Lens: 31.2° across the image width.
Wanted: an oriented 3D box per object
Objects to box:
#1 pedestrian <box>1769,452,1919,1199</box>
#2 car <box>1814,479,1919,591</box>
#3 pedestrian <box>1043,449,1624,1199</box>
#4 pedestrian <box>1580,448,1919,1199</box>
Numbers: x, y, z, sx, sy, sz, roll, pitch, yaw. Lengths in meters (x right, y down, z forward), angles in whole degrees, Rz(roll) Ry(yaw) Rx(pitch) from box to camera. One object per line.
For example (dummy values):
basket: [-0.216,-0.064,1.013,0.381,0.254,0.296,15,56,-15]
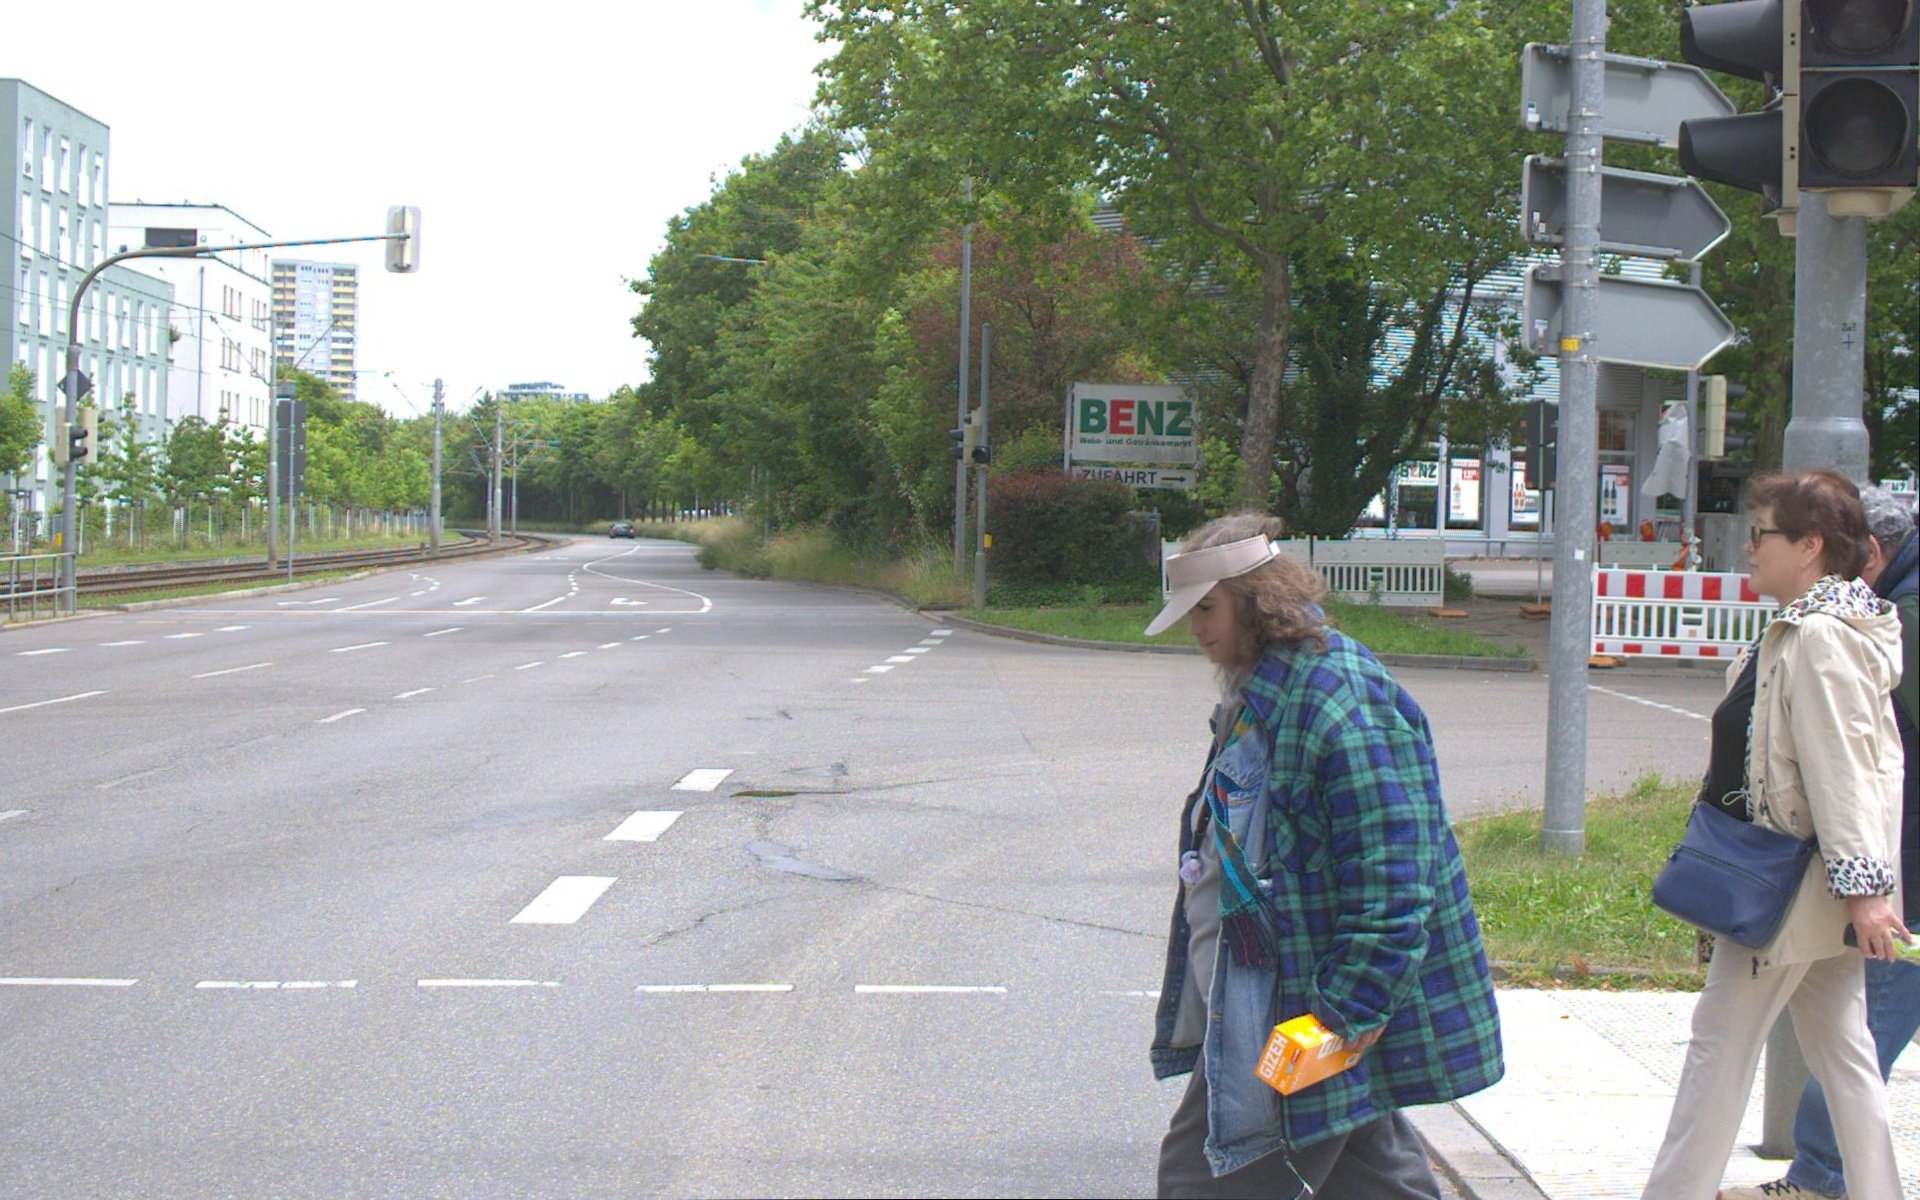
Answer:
pedestrian: [2.127,0.520,7.076,0.869,1.629,0.765,1,1,13]
car: [17.741,-1.185,62.573,1.993,2.007,4.000,0,2,-32]
pedestrian: [0.580,0.595,5.649,0.822,1.665,0.733,1,1,-3]
pedestrian: [1.631,0.537,6.588,0.823,1.634,0.733,1,1,13]
